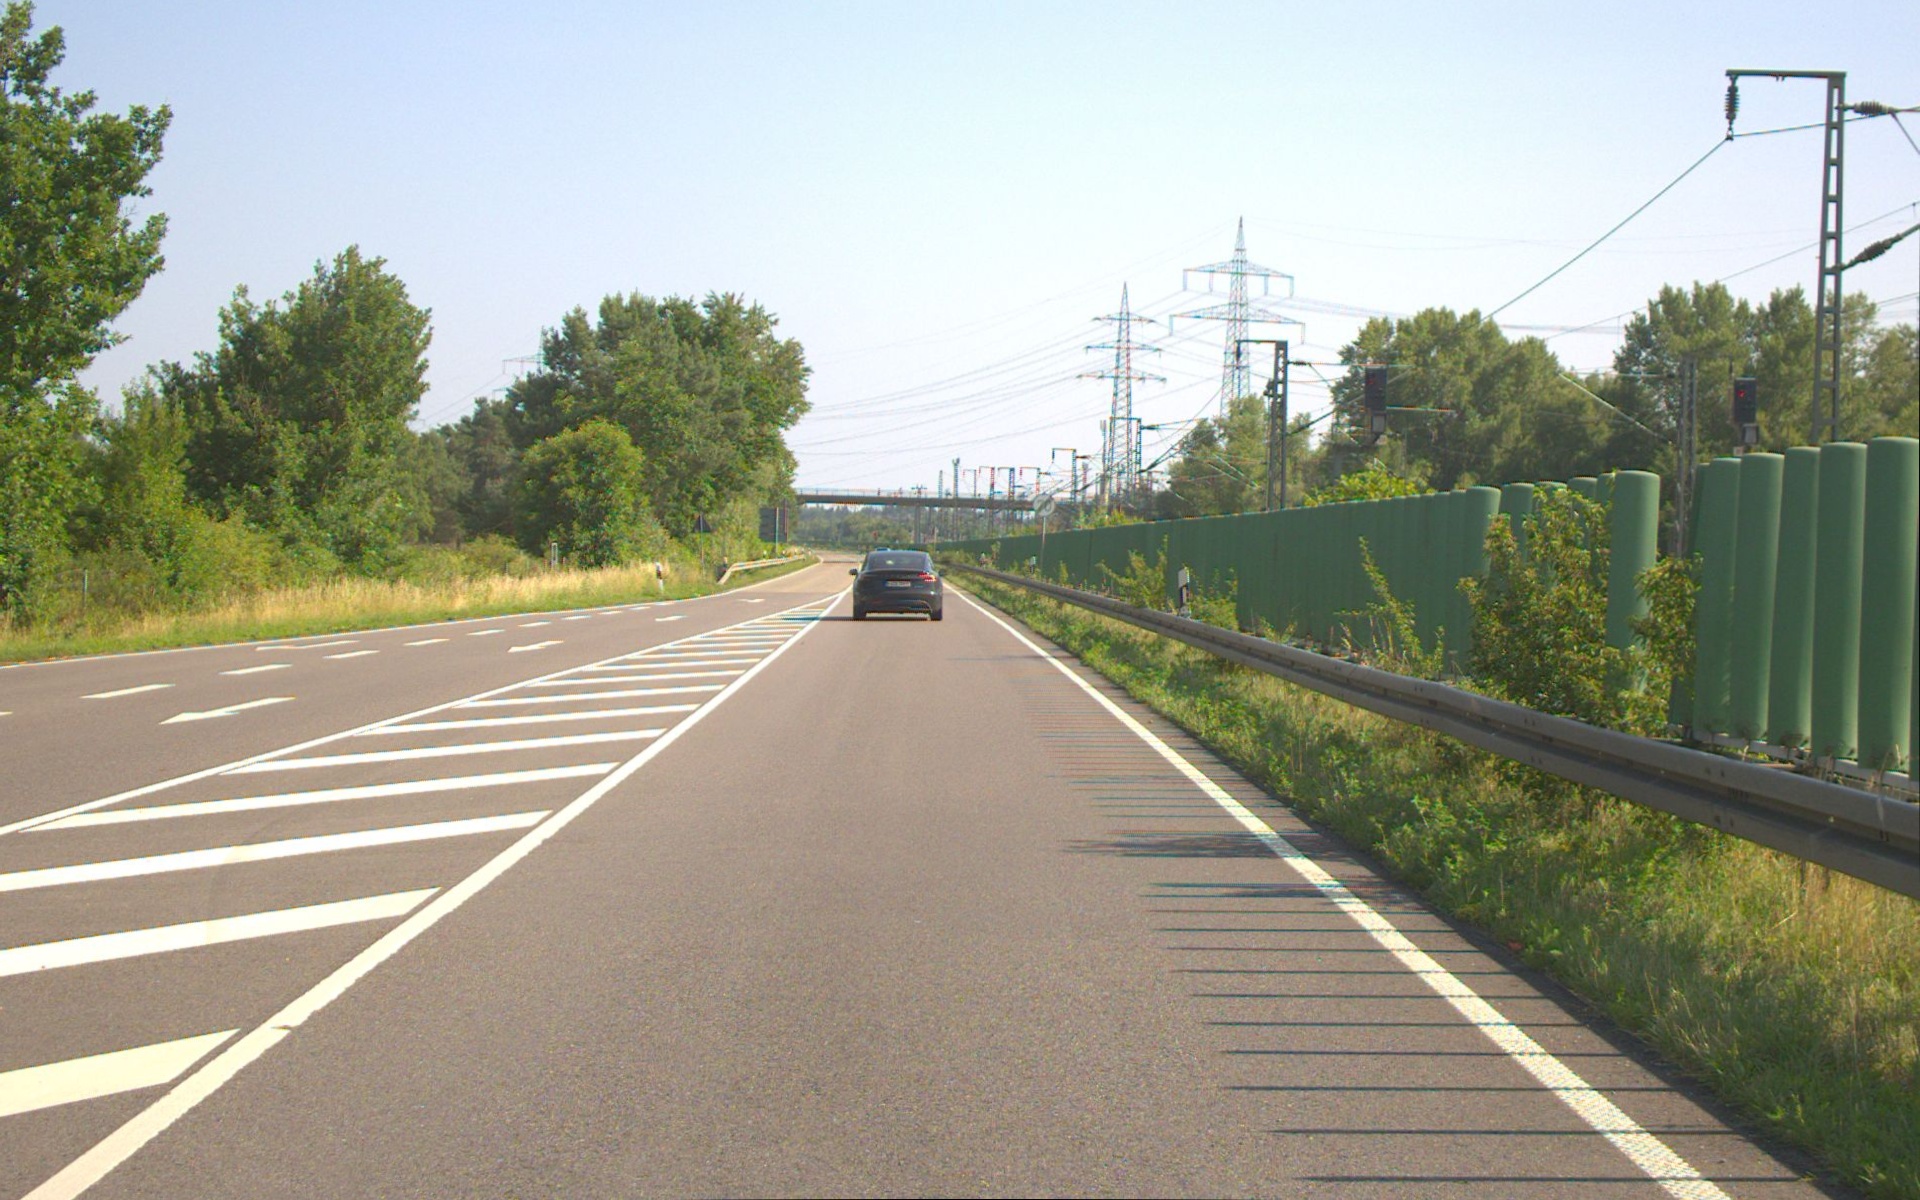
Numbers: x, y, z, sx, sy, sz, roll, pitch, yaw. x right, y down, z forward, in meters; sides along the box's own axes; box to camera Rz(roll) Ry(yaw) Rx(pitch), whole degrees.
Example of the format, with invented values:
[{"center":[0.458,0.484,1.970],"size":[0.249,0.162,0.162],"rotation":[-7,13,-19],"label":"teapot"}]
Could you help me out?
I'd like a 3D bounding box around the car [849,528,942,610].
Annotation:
[{"center":[-1.319,-0.659,71.370],"size":[1.858,1.636,4.000],"rotation":[-1,1,0],"label":"car"}]
